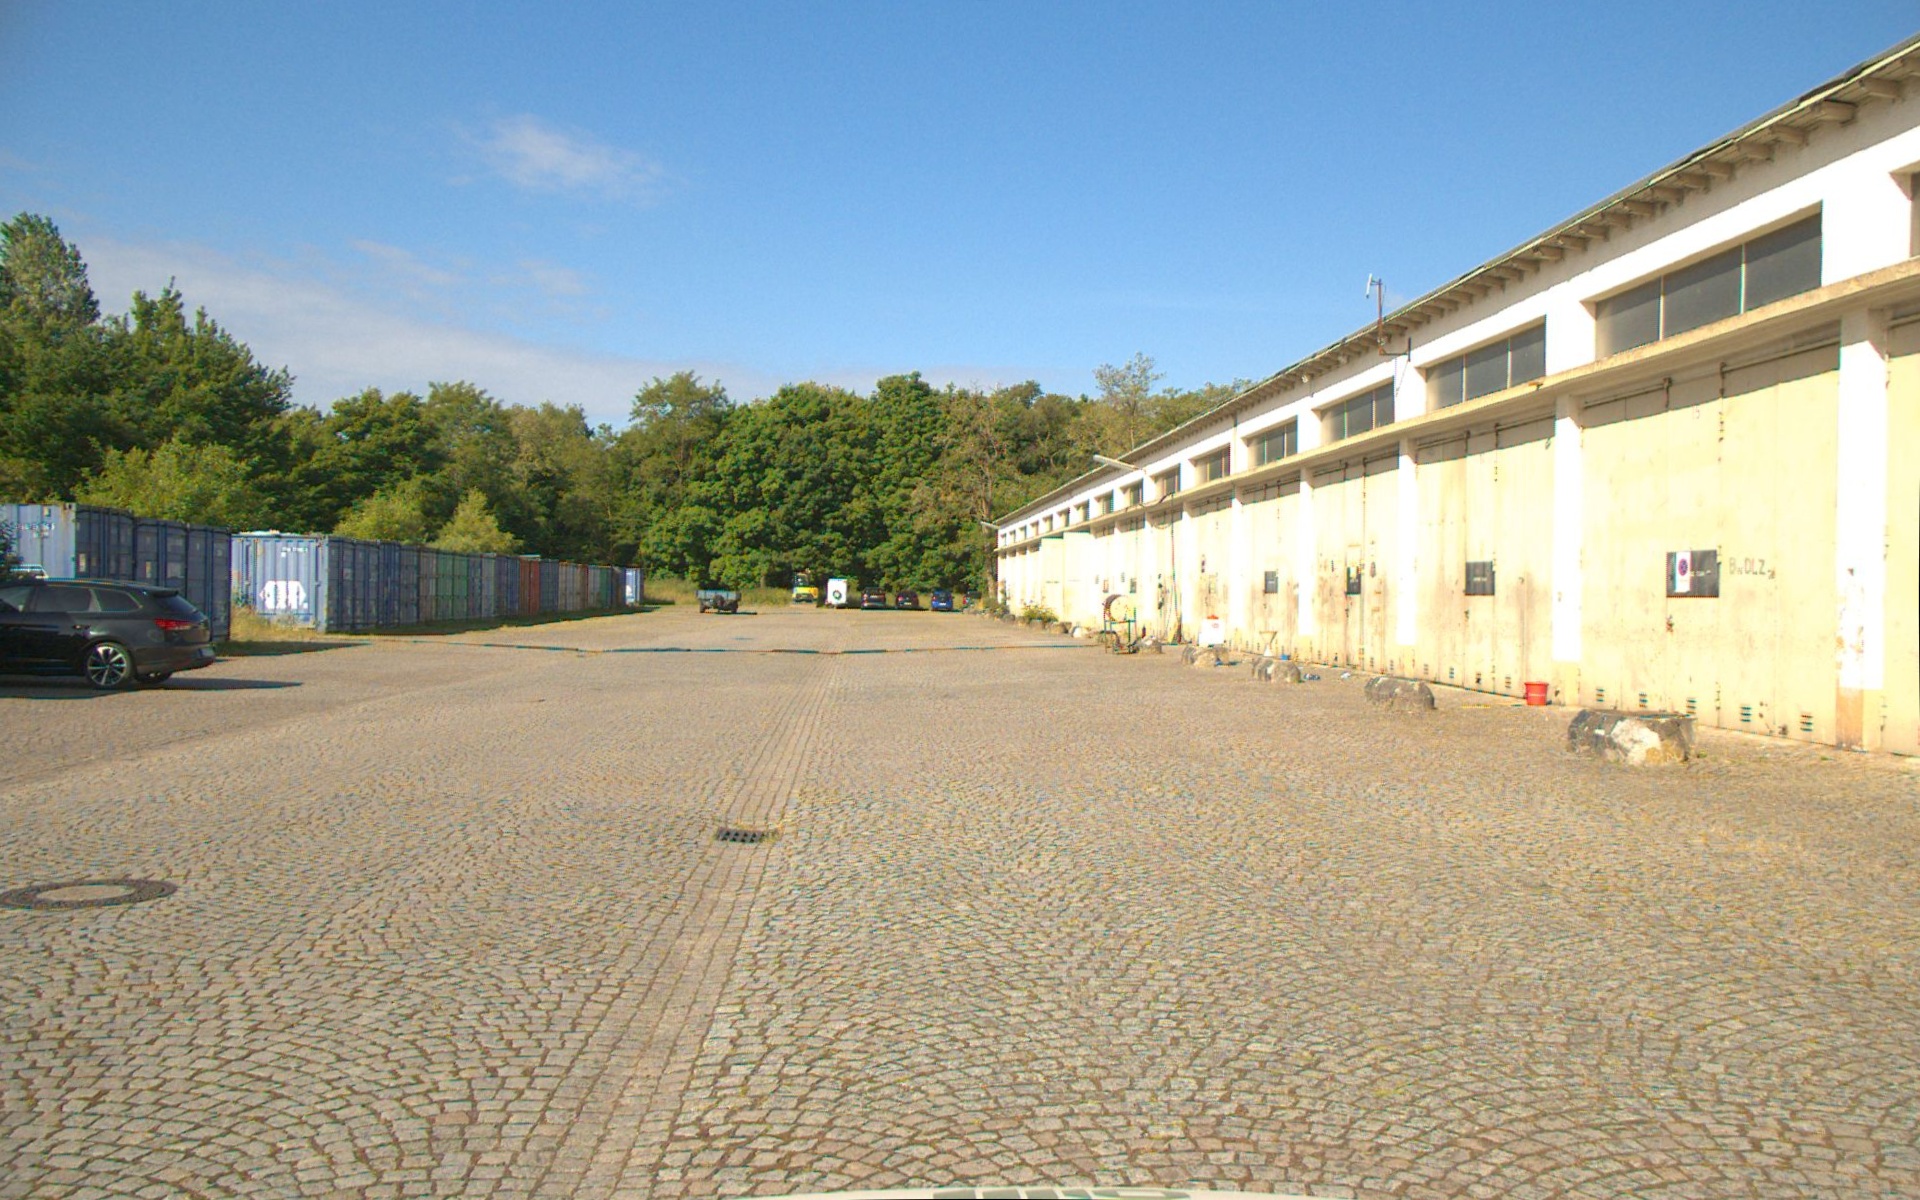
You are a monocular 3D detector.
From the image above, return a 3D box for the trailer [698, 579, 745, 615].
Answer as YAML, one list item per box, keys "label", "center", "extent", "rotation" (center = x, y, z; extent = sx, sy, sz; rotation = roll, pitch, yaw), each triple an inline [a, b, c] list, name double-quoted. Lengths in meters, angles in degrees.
- label: "trailer"
  center: [-14.825, -0.183, 102.997]
  extent: [2.358, 2.049, 4.172]
  rotation: [3, 0, -2]

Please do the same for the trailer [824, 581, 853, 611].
- label: "trailer"
  center: [-8.995, -0.310, 122.560]
  extent: [1.757, 2.126, 3.972]
  rotation: [0, 0, 1]

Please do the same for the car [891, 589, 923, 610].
- label: "car"
  center: [-3.886, -0.066, 121.401]
  extent: [1.952, 1.488, 4.002]
  rotation: [0, 0, 3]

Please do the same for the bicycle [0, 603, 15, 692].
- label: "bicycle"
  center: [-13.004, 0.577, 20.901]
  extent: [1.674, 1.120, 0.673]
  rotation: [2, 0, -4]

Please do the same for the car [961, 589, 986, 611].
- label: "car"
  center: [1.020, -0.006, 123.092]
  extent: [1.650, 1.591, 4.002]
  rotation: [0, 0, 3]

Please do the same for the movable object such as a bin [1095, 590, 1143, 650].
- label: "movable object such as a bin"
  center: [3.655, 0.448, 38.178]
  extent: [0.808, 1.355, 1.278]
  rotation: [1, 0, -8]

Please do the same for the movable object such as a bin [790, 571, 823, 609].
- label: "movable object such as a bin"
  center: [-11.353, -0.744, 122.676]
  extent: [1.953, 2.664, 4.000]
  rotation: [2, 0, 0]

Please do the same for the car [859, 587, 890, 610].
- label: "car"
  center: [-6.229, -0.133, 121.048]
  extent: [1.822, 1.613, 4.002]
  rotation: [0, 0, 3]

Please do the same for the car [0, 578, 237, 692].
- label: "car"
  center: [-12.261, 0.451, 22.629]
  extent: [3.975, 1.437, 1.728]
  rotation: [2, 0, -10]

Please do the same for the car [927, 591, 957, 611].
- label: "car"
  center: [-1.312, 0.089, 121.576]
  extent: [1.952, 1.445, 4.002]
  rotation: [0, 0, 3]
